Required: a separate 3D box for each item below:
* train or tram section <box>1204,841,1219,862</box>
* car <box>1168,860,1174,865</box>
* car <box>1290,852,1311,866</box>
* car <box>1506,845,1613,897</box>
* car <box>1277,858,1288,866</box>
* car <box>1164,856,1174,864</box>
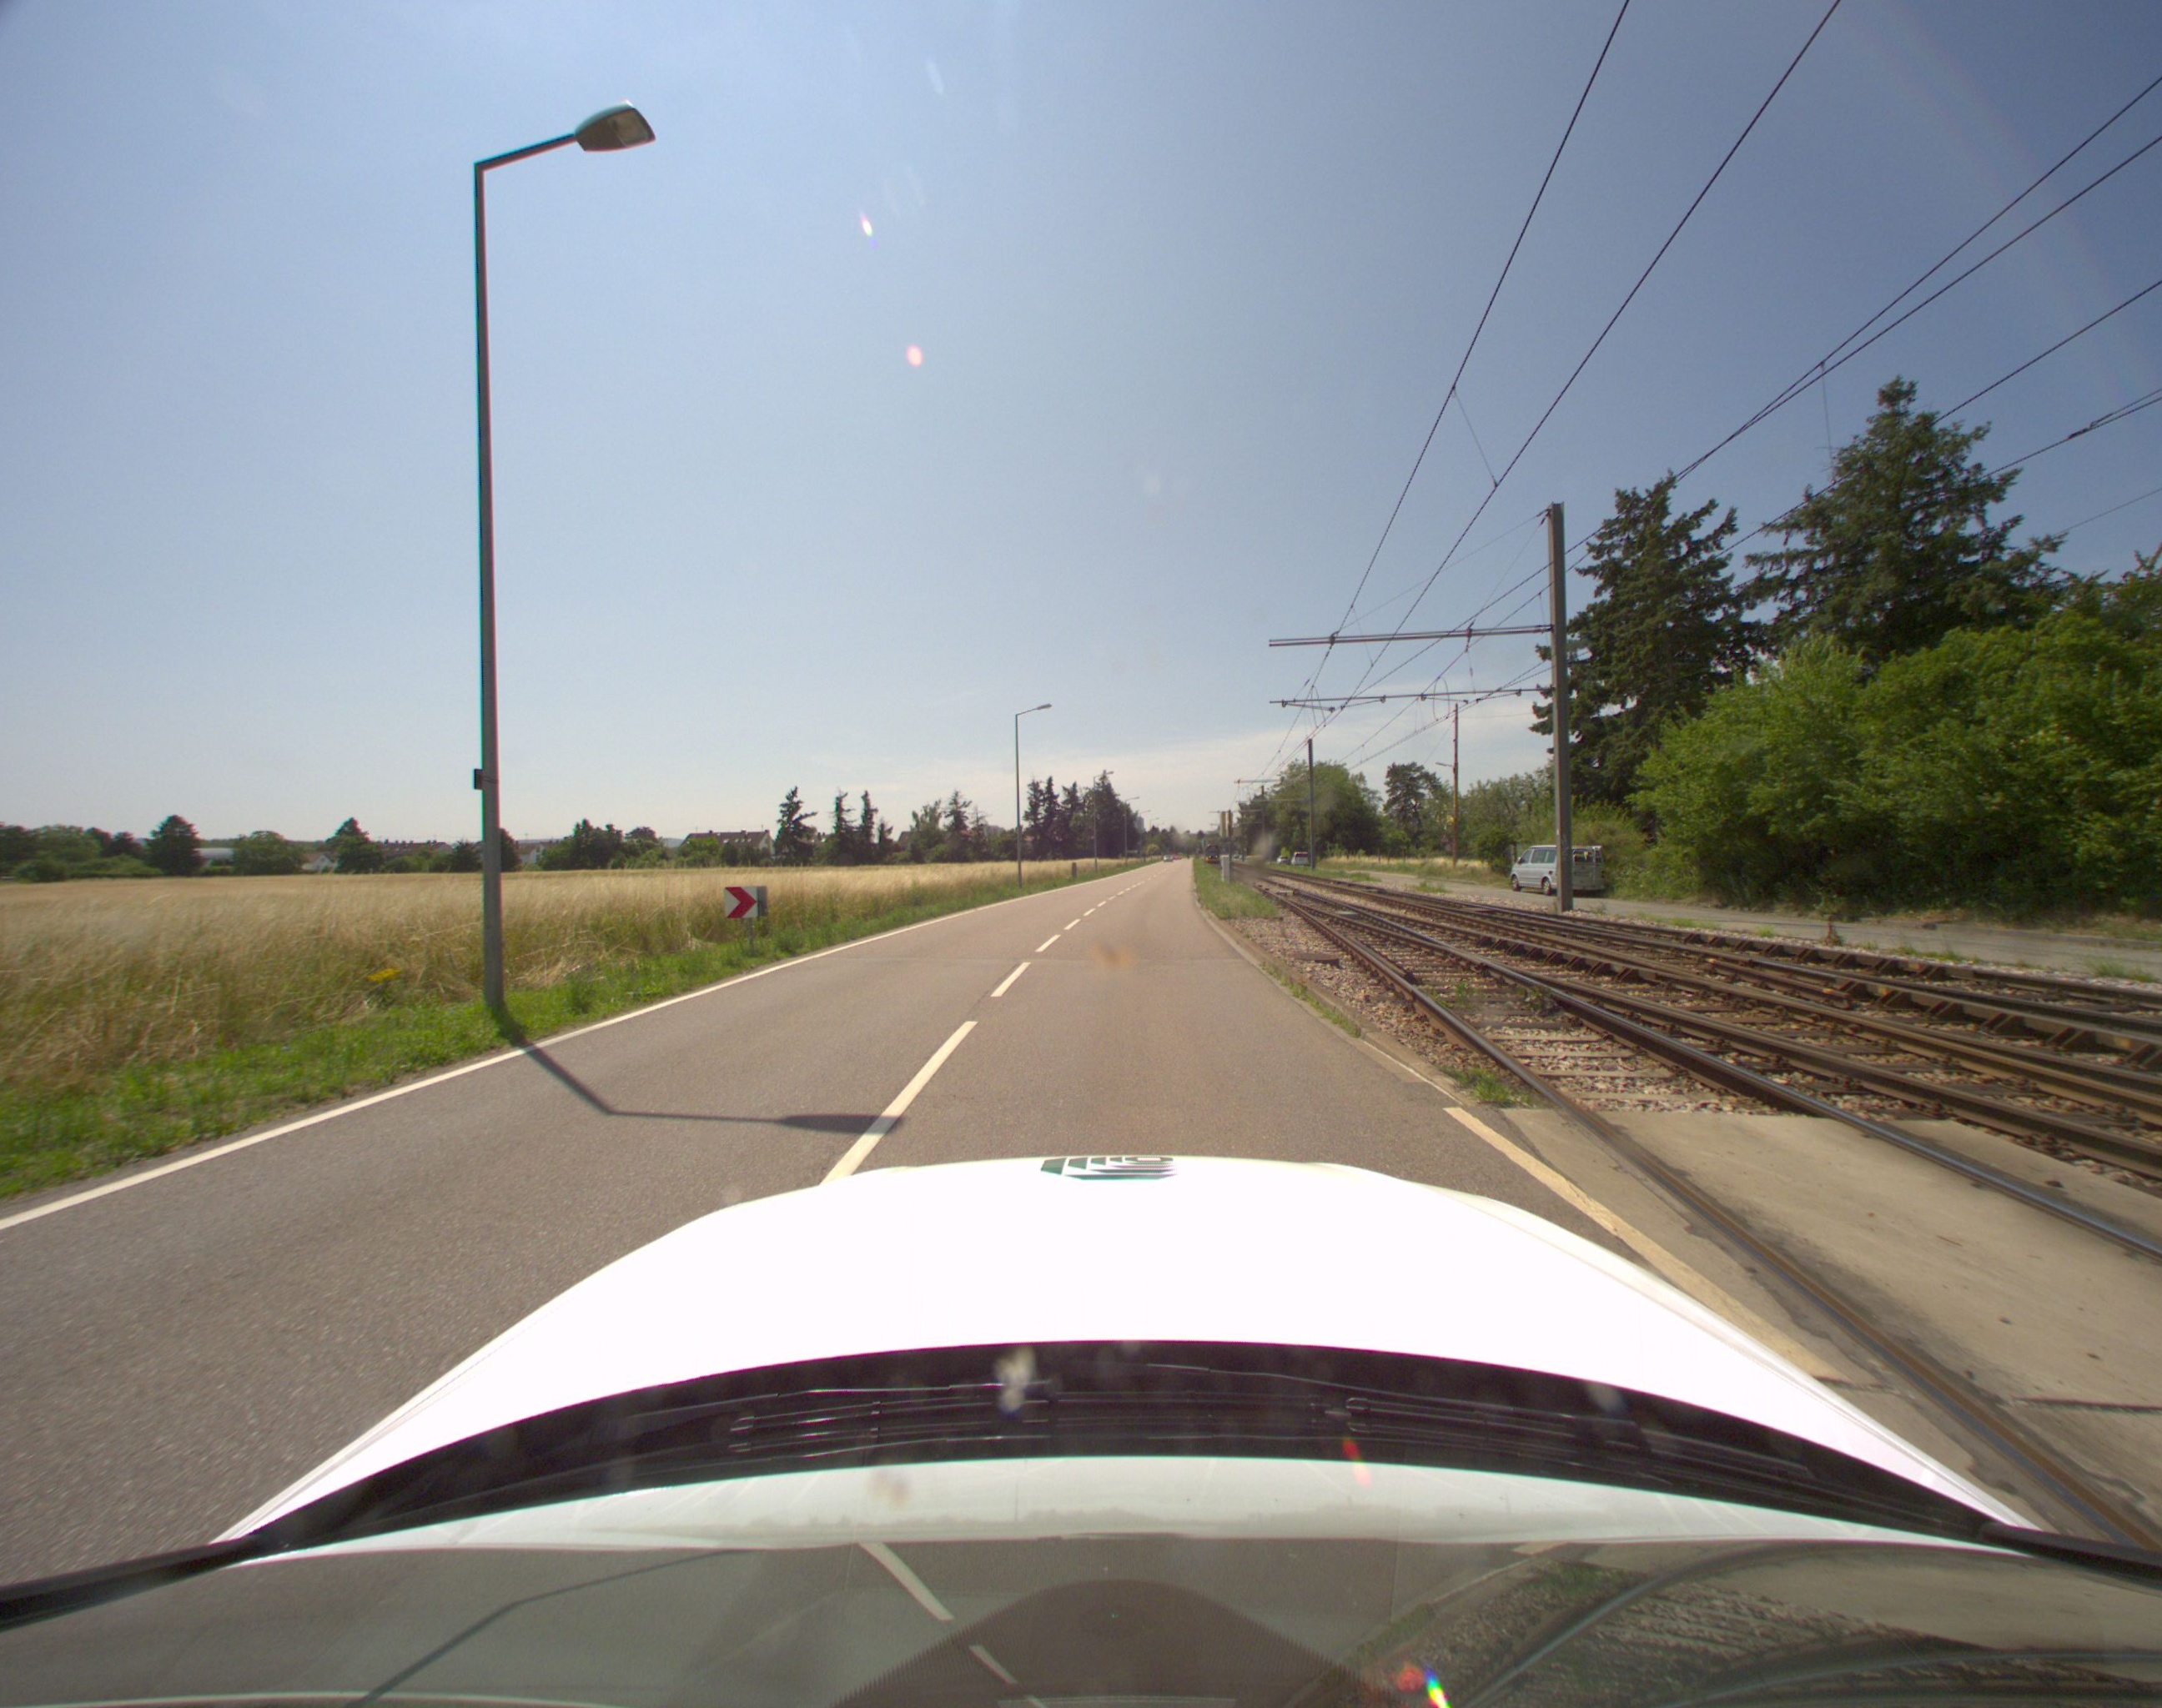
[{"bbox_3d":[24.861,-0.356,155.183,2.416,3.766,11.582,-2,-1,7],"label":"train or tram section"},{"bbox_3d":[24.810,2.300,223.891,1.636,1.400,3.852,-1,-1,7],"label":"car"},{"bbox_3d":[29.534,0.677,109.693,1.982,1.802,4.804,-2,-1,8],"label":"car"},{"bbox_3d":[19.120,0.691,32.852,2.024,1.882,5.082,-2,-1,10],"label":"car"},{"bbox_3d":[31.842,1.291,128.707,1.420,1.308,3.473,-2,-1,8],"label":"car"},{"bbox_3d":[18.631,1.265,172.034,1.824,1.467,4.687,-1,-1,8],"label":"car"}]
